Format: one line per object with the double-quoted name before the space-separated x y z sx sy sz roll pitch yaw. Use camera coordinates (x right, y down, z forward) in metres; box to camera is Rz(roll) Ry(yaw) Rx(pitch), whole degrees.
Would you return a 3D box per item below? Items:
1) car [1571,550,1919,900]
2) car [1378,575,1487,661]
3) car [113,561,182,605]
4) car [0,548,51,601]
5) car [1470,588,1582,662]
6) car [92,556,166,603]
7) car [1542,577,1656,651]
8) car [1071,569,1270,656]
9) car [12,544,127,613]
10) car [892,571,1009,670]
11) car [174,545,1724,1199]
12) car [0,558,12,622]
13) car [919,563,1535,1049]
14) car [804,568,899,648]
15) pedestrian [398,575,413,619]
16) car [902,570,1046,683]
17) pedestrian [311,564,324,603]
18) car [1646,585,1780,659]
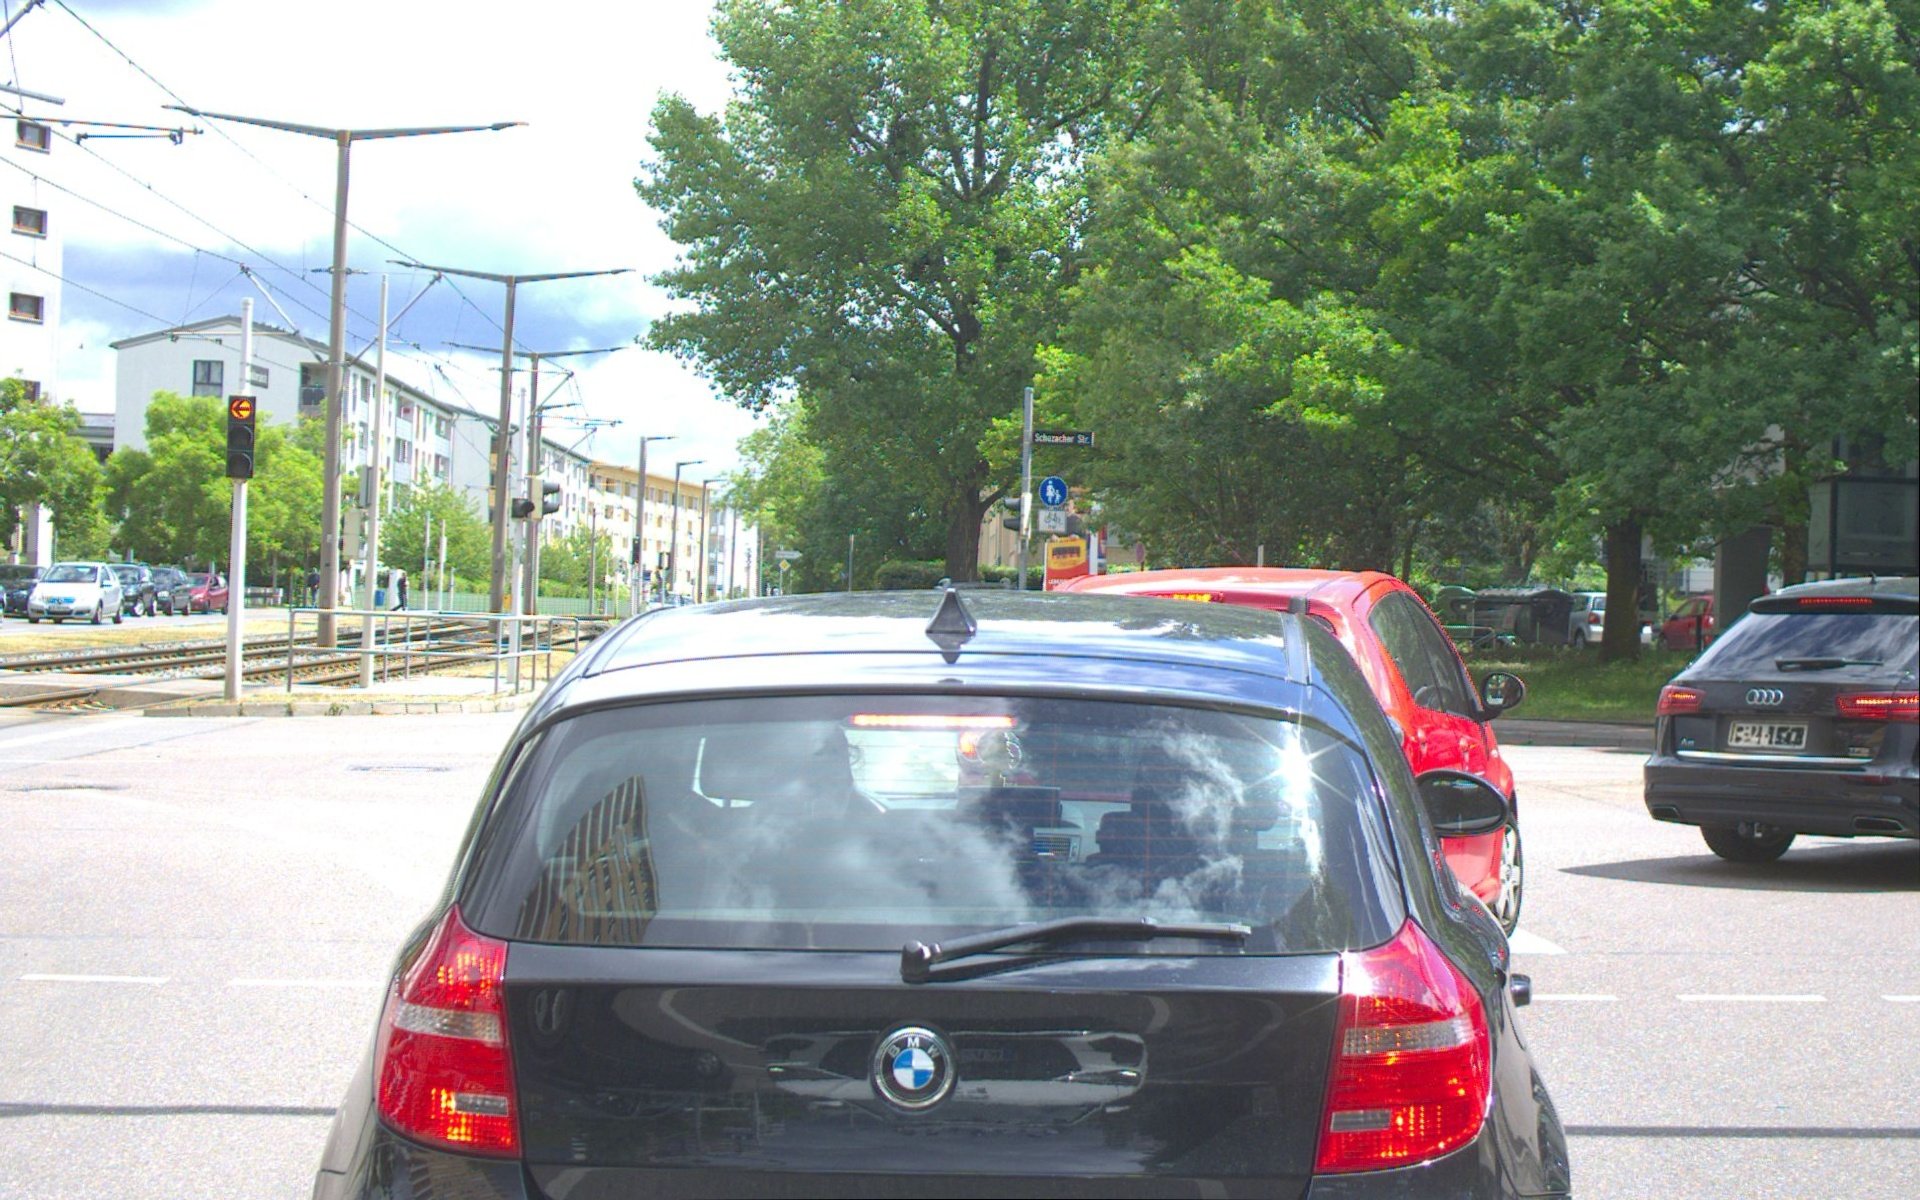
"car" 5.347 0.556 17.461 4.508 1.548 1.999 0 1 -41
"car" 10.549 0.374 76.960 1.630 1.804 4.033 1 1 -3
"car" -26.527 -0.569 112.321 1.760 1.390 4.001 1 1 -7
"car" -25.934 -0.715 93.556 1.760 1.390 4.001 1 1 -7
"car" 12.745 0.542 77.592 1.630 1.567 4.033 1 1 -3
"car" -25.985 -0.645 107.591 1.760 1.390 4.001 1 1 -7
"car" 14.636 0.308 78.925 1.630 1.589 4.001 1 1 -3
"car" 4.635 0.272 75.722 3.986 1.817 1.779 1 1 -22
"car" -22.622 -0.559 87.490 1.937 1.687 3.873 1 1 -1
"car" -0.174 0.363 61.665 1.993 1.678 4.000 1 0 0
"car" -0.037 0.668 5.923 1.752 1.482 4.000 1 1 0
"car" -21.876 -0.237 74.379 1.634 1.395 4.494 2 0 -3
"car" 1.062 0.607 12.170 1.543 1.436 3.193 1 1 16
"car" -2.398 0.156 77.001 1.993 1.678 4.000 1 1 0
"pedestrian" -20.725 -0.126 128.541 0.478 1.631 0.454 1 1 -1
"car" 0.205 0.412 54.216 2.152 1.678 4.000 1 0 0
"pedestrian" -26.897 -0.686 143.857 0.452 1.631 0.480 1 1 -5
"car" 17.337 0.491 79.369 1.730 1.589 4.001 1 1 -8
